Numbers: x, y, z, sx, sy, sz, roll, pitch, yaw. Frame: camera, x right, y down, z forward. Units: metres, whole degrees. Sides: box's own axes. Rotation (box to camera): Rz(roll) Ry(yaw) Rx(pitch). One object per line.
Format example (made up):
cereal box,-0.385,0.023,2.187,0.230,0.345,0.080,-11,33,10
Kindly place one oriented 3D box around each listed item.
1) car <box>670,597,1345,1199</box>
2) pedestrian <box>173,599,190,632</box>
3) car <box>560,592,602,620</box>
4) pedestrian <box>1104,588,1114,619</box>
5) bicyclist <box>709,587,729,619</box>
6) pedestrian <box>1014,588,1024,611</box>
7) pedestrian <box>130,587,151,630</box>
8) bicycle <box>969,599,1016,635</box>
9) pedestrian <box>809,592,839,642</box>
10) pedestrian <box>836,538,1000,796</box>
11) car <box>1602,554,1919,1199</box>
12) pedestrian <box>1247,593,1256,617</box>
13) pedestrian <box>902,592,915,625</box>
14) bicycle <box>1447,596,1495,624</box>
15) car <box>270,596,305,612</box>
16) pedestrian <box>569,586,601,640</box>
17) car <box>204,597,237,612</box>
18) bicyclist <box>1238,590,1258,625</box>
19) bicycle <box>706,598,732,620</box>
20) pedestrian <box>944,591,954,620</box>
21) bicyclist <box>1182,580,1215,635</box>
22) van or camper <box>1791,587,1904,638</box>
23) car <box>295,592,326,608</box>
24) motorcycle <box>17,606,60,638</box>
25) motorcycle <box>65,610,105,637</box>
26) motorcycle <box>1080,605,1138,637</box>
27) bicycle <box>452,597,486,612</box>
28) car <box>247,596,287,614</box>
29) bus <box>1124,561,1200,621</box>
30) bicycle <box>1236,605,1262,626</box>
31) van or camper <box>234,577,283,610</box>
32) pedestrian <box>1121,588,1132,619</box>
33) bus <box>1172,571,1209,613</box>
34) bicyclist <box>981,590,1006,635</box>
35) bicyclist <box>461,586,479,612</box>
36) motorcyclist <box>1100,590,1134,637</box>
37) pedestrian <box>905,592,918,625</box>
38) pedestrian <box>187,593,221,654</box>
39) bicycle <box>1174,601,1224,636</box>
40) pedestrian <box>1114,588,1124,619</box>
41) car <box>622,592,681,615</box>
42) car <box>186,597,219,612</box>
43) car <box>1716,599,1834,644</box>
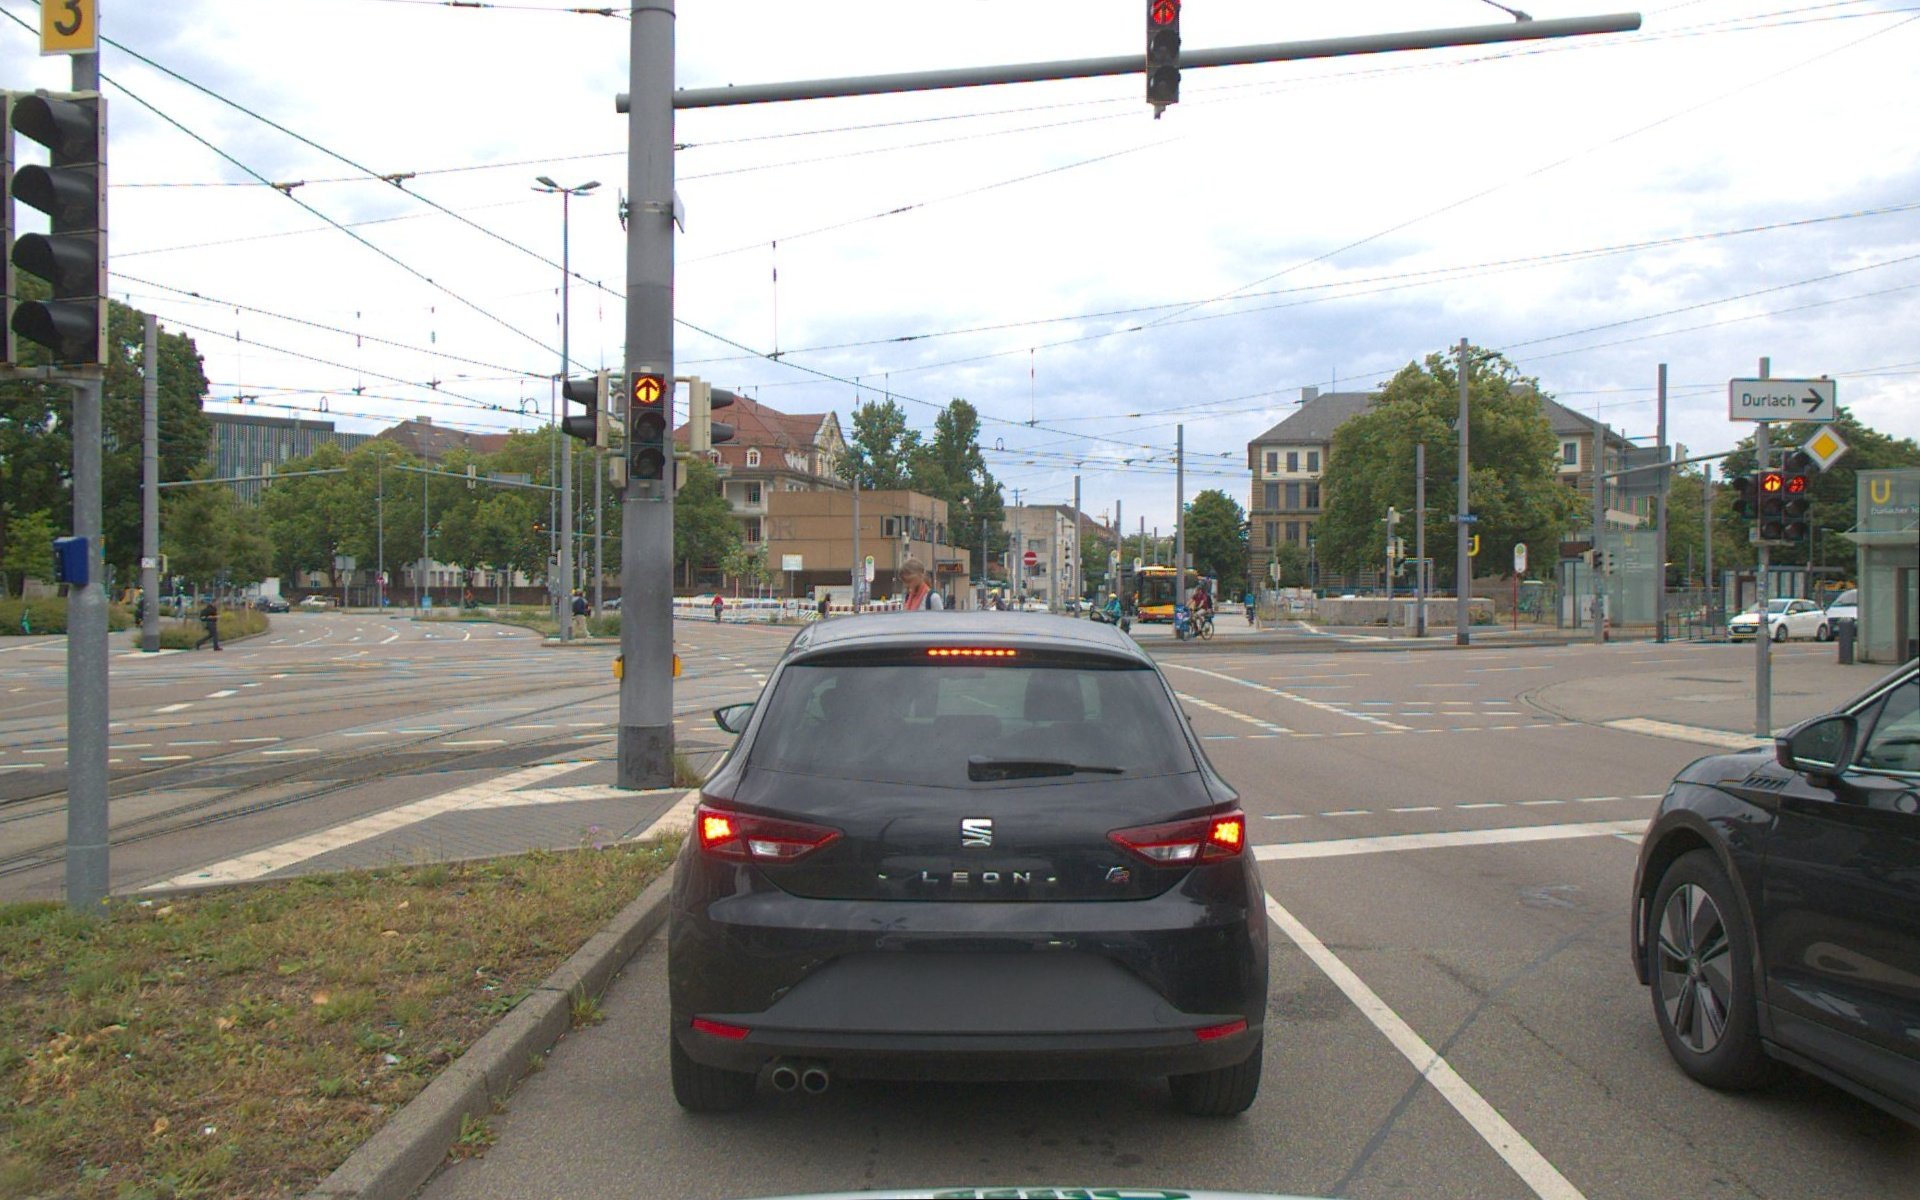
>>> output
car,-0.018,0.733,5.977,1.671,1.474,3.808,0,0,-5
pedestrian,-48.486,0.980,103.030,0.865,2.016,0.791,0,-1,-19
car,-23.948,0.390,104.386,1.966,1.713,3.973,0,-1,-22
pedestrian,9.390,0.206,104.193,0.608,1.951,0.699,0,0,9
bicyclist,-13.093,0.164,89.826,0.870,1.762,0.888,0,0,-22
pedestrian,4.981,-0.065,140.327,0.609,1.952,0.710,-1,-1,25
pedestrian,-39.371,0.405,79.462,0.787,2.016,0.870,1,-2,-35
bicycle,1.255,0.648,63.723,1.700,1.345,0.643,0,0,-13
pedestrian,-5.477,0.670,66.575,0.687,1.968,1.026,0,0,38
pedestrian,-0.327,0.508,13.123,1.096,1.940,0.724,1,-1,-44
car,3.268,0.701,3.769,1.741,1.625,4.508,0,0,-2
pedestrian,24.819,0.424,140.955,0.648,2.049,0.691,0,0,-1
pedestrian,-2.990,0.496,96.518,0.693,1.951,0.624,0,0,7
bicycle,25.525,0.495,82.636,2.214,1.354,0.707,-1,-1,6
car,-68.396,0.387,168.190,3.929,1.489,1.771,1,1,42
pedestrian,-13.829,0.486,61.017,1.015,1.968,0.695,0,0,-26
car,-75.360,0.451,168.551,3.932,1.489,1.770,1,1,44
bicyclist,15.721,0.388,90.332,0.854,1.884,1.046,0,0,-6
bicycle,-13.109,0.477,89.892,0.879,1.199,2.286,0,0,-22
pedestrian,-0.763,0.376,111.954,0.608,1.951,0.711,0,0,2
bicyclist,8.484,0.277,58.810,0.764,1.931,0.990,0,0,43
van or camper,32.116,0.468,59.841,4.257,1.773,1.974,0,-1,-36
car,-62.954,-0.006,160.304,1.764,1.489,3.945,0,1,-39
motorcycle,-37.895,0.886,68.000,0.503,1.290,1.463,0,0,43
motorcycle,-36.977,0.988,69.942,0.499,1.130,1.746,0,0,12
motorcycle,5.440,0.755,60.355,2.115,1.159,0.735,0,0,-34
bicycle,-38.298,0.354,129.148,0.921,1.199,2.726,0,0,28
car,-59.661,0.395,142.310,3.930,1.489,1.770,0,0,43
bus,11.556,-0.520,93.632,2.897,3.178,11.548,0,0,14
bicycle,15.742,0.838,90.186,0.849,1.124,2.299,0,0,-5
van or camper,-69.250,-0.608,163.186,5.403,3.179,2.382,0,0,41
pedestrian,10.534,0.199,104.669,0.608,1.951,0.699,0,0,9
bus,19.157,-0.652,136.960,2.597,3.340,11.004,0,0,10
bicyclist,1.301,0.480,63.734,0.839,1.702,0.652,0,0,-13
bicyclist,-38.286,-0.093,129.148,0.919,2.049,0.977,0,0,28
motorcyclist,5.748,0.490,60.577,0.968,1.678,0.741,0,-1,-34
pedestrian,-2.873,0.510,97.315,0.693,1.951,0.624,0,0,7
pedestrian,-25.919,0.794,56.711,1.006,2.049,0.841,0,0,-20
bicycle,8.514,0.649,58.820,0.764,1.205,2.019,0,0,43
pedestrian,10.179,0.218,105.692,0.608,1.951,0.711,0,0,2
car,-22.867,0.267,122.674,3.905,1.713,2.000,0,-1,0
car,-80.701,0.443,176.152,3.926,1.489,1.772,1,1,41
car,27.512,0.731,55.809,3.948,1.490,1.756,0,-1,-32
